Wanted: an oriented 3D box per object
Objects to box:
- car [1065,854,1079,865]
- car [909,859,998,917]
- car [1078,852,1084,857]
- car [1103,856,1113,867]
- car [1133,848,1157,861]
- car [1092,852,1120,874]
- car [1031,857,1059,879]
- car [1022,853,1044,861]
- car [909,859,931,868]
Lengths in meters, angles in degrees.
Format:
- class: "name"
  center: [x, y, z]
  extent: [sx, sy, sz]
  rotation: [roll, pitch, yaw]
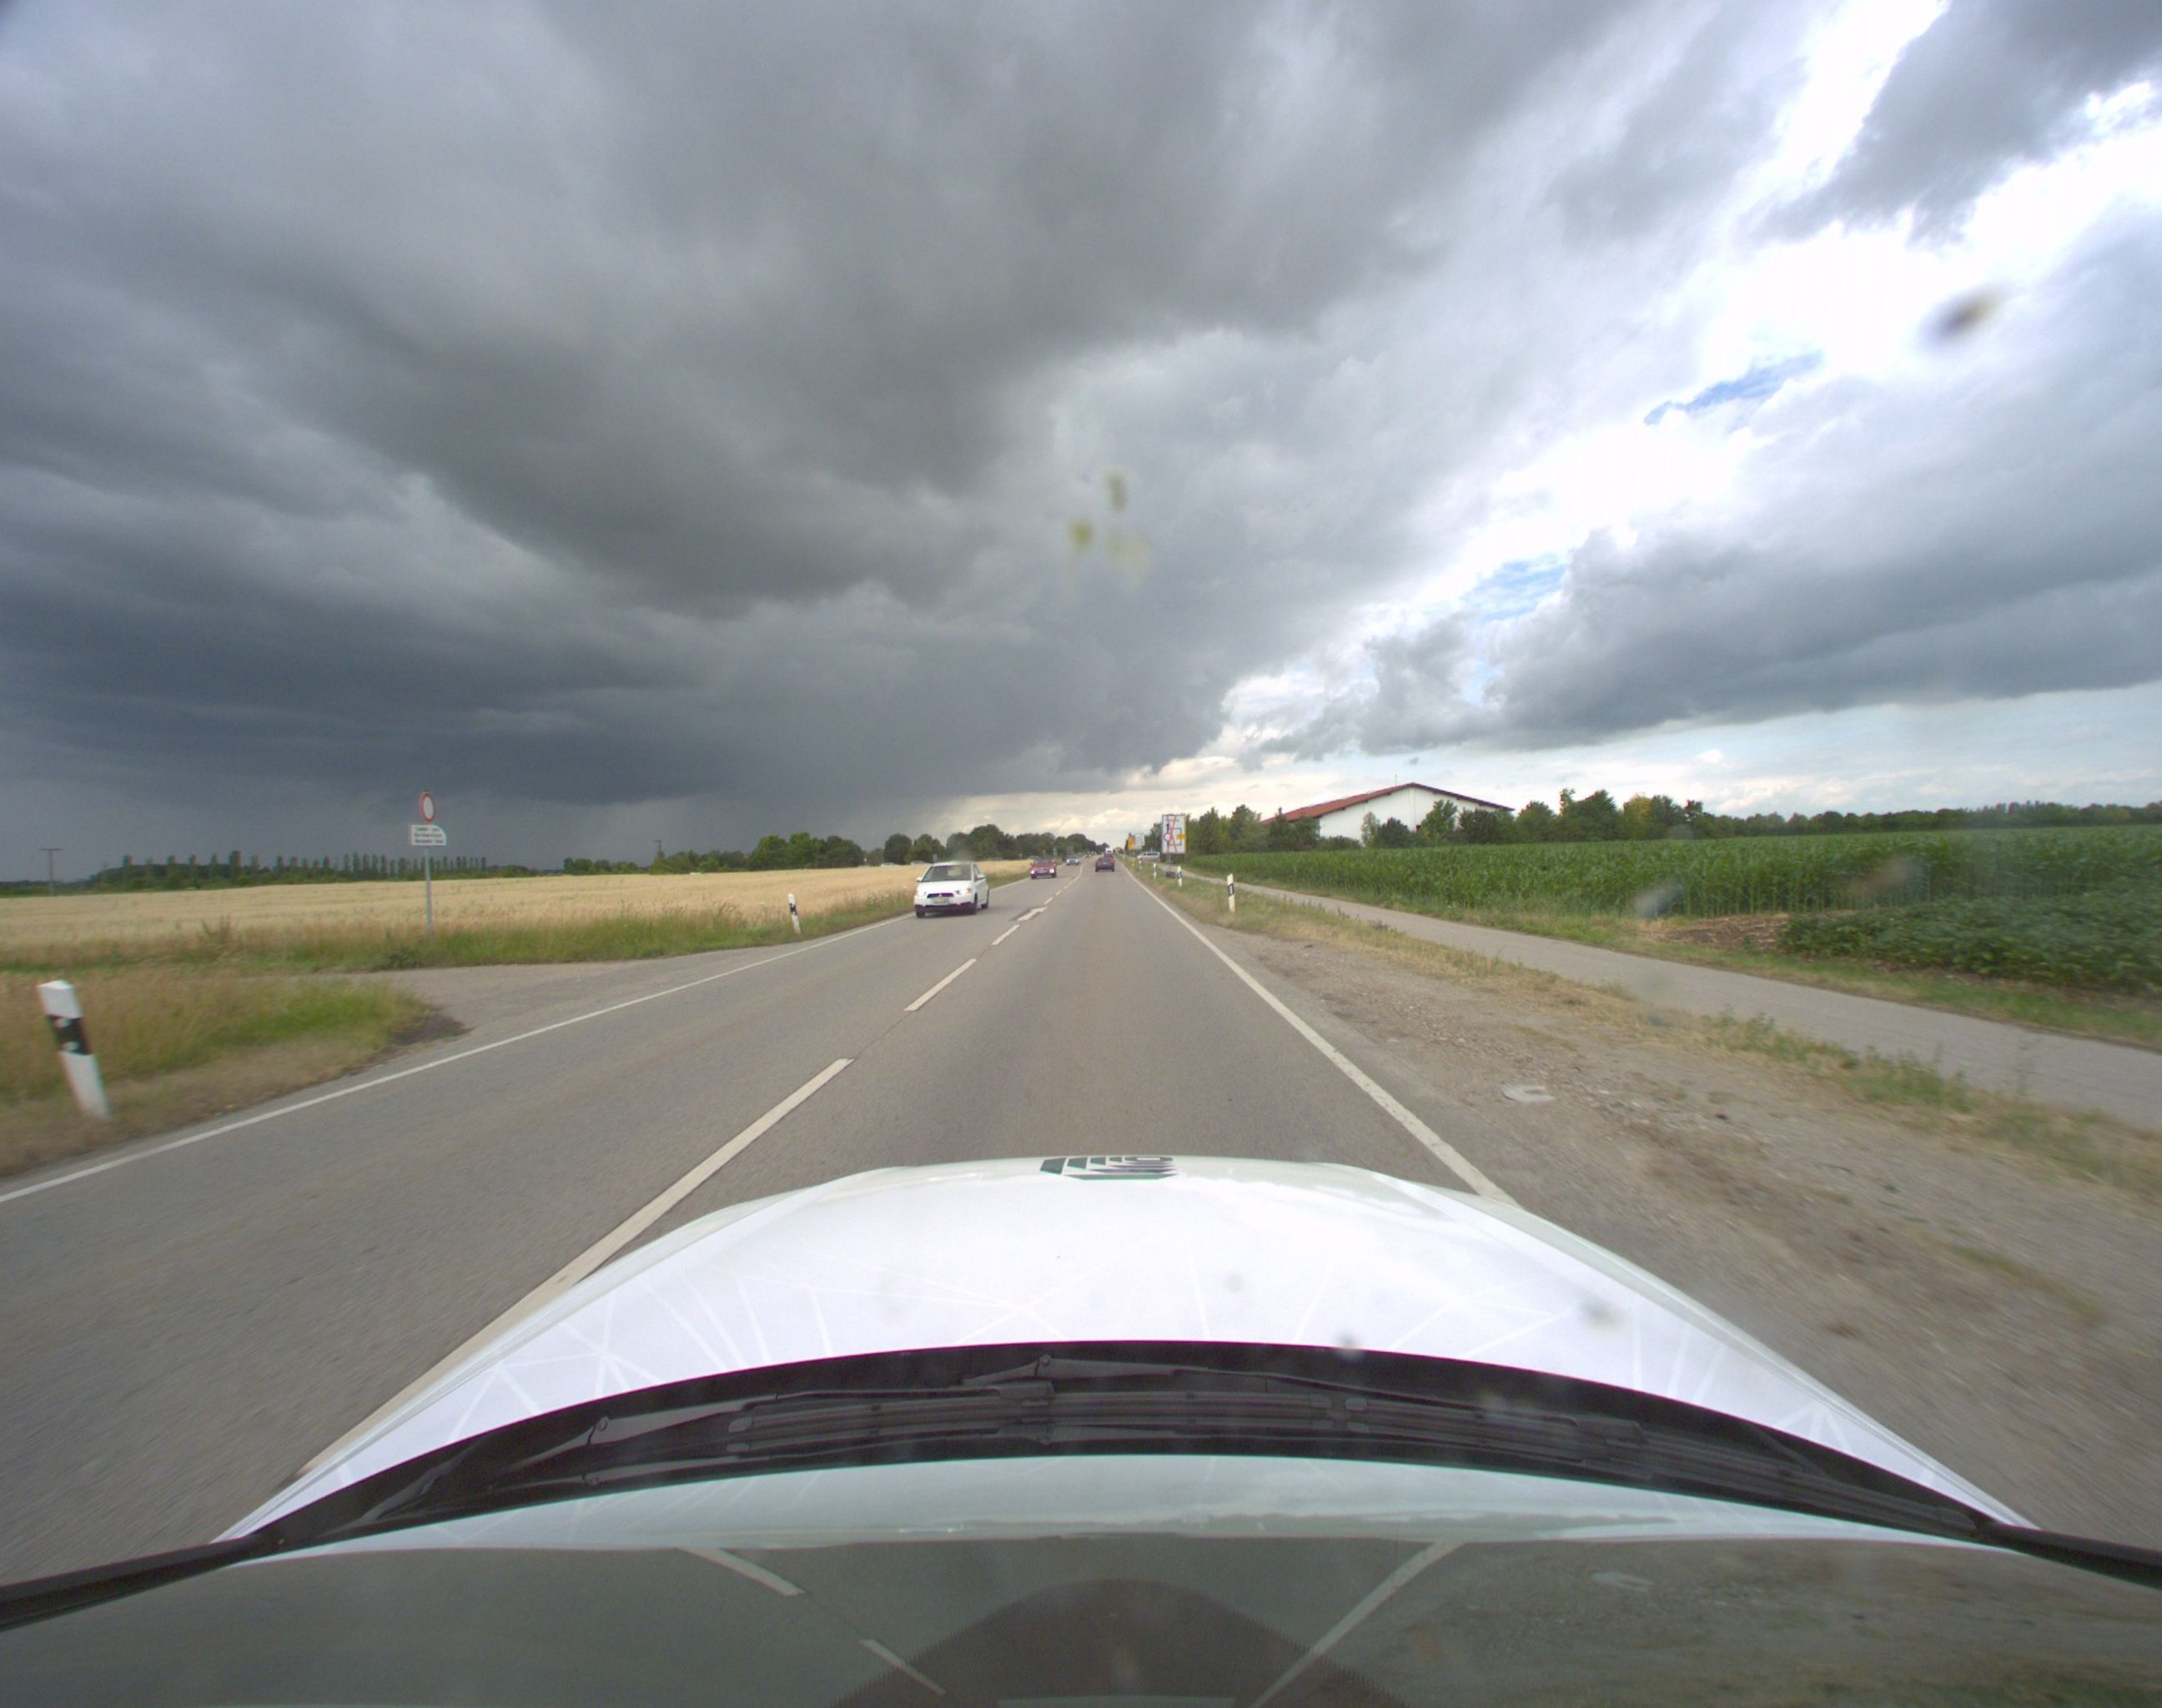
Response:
- class: "car"
  center: [-1.502, 0.925, 133.168]
  extent: [2.057, 1.580, 4.767]
  rotation: [-3, 0, 2]
- class: "car"
  center: [-3.619, 0.923, 23.837]
  extent: [1.799, 1.456, 4.115]
  rotation: [-2, 0, 2]
- class: "car"
  center: [-0.056, 0.204, 249.865]
  extent: [1.639, 1.590, 4.002]
  rotation: [-2, 0, 2]
- class: "car"
  center: [4.345, 1.166, 129.669]
  extent: [1.565, 1.701, 4.002]
  rotation: [-2, 0, 2]
- class: "car"
  center: [13.397, 0.162, 171.344]
  extent: [4.822, 2.452, 2.004]
  rotation: [-2, 0, -1]
- class: "car"
  center: [2.369, 0.875, 78.556]
  extent: [2.365, 1.880, 4.476]
  rotation: [-3, 0, -1]
- class: "car"
  center: [-2.692, 1.018, 61.543]
  extent: [1.706, 1.488, 4.610]
  rotation: [-2, 0, 2]
- class: "car"
  center: [-9.960, 0.634, 168.135]
  extent: [4.403, 1.649, 1.500]
  rotation: [-2, 0, -4]
- class: "car"
  center: [-33.723, 2.014, 170.279]
  extent: [4.051, 1.649, 1.869]
  rotation: [-2, 0, 6]
